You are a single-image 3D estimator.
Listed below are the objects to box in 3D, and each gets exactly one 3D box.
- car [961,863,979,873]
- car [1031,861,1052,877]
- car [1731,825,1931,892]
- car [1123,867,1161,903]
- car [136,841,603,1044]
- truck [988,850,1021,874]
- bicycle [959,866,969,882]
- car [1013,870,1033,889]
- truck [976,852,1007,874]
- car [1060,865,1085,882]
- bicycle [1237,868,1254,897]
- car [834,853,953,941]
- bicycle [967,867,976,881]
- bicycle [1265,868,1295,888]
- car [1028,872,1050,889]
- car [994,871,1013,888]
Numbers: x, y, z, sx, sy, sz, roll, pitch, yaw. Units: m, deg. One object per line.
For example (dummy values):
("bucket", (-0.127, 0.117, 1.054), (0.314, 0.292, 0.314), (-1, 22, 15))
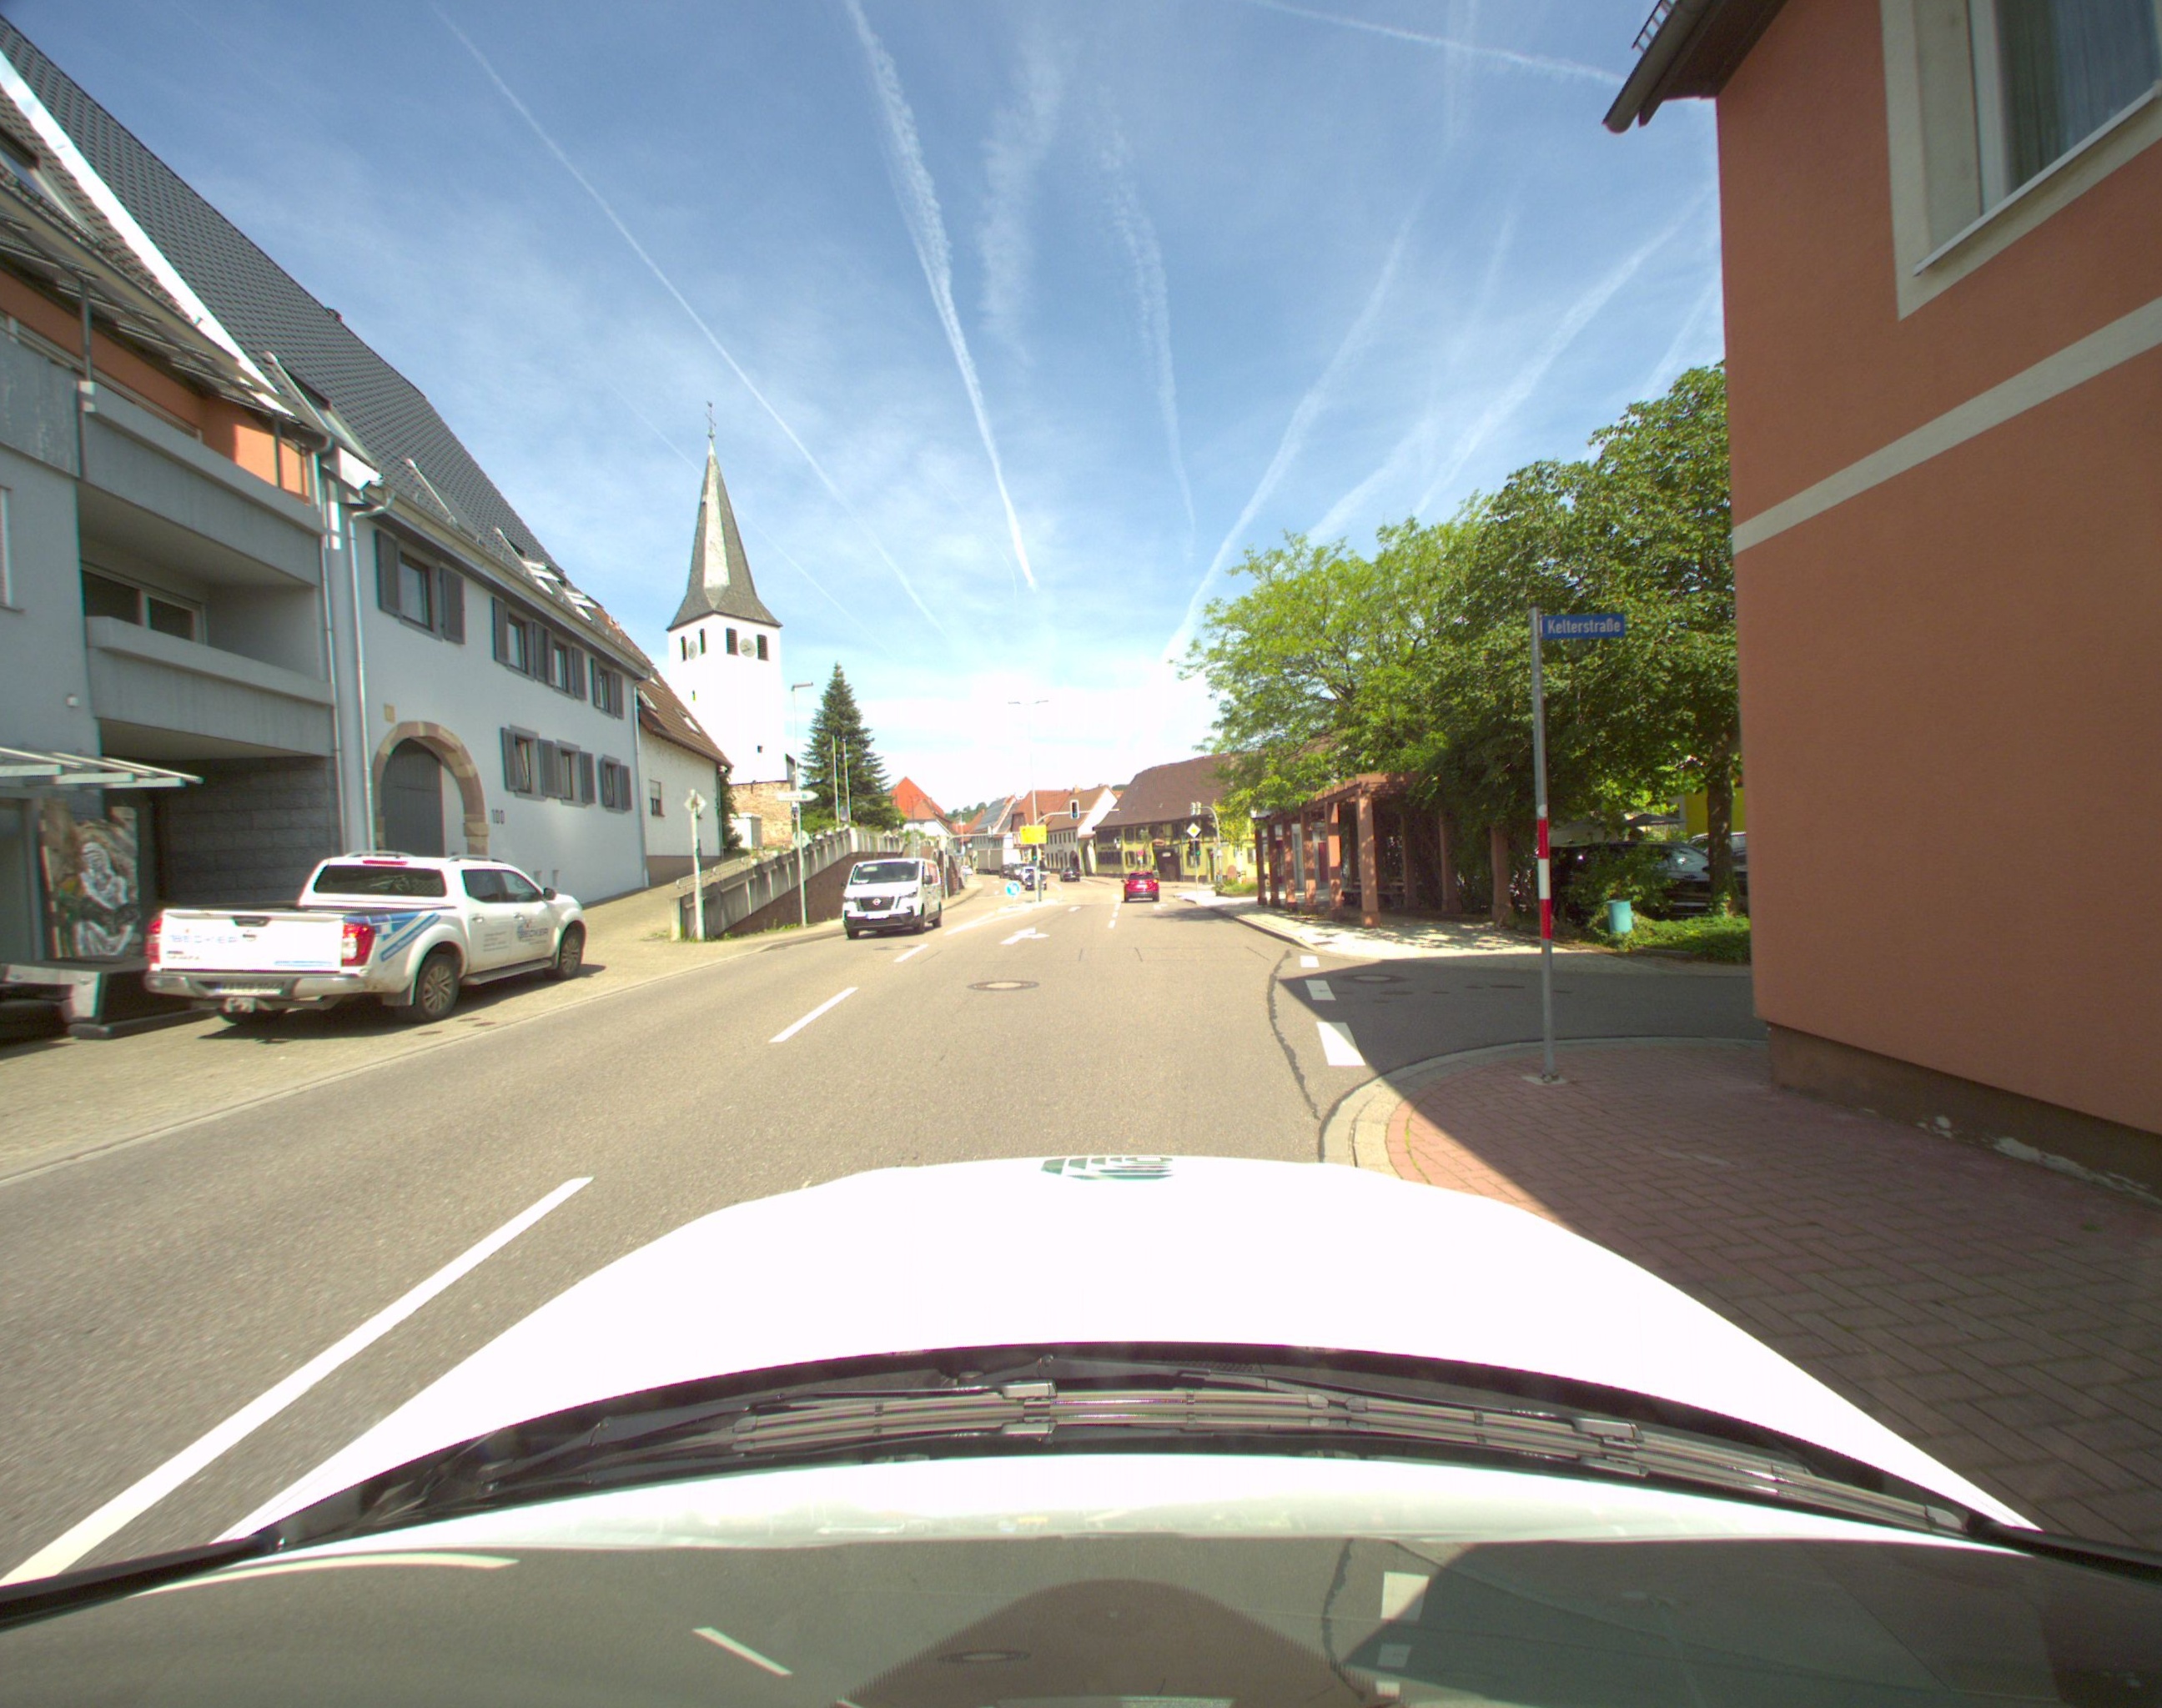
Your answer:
("car", (-18.767, 2.413, 137.438), (1.794, 1.526, 3.973), (-4, 0, -24))
("car", (-5.347, 1.993, 109.479), (1.851, 2.014, 3.976), (-1, -1, -18))
("car", (22.311, 0.150, 24.351), (4.160, 1.740, 1.884), (-3, -1, 0))
("car", (3.305, 1.619, 43.521), (1.795, 1.663, 3.819), (-4, 0, 6))
("car", (-8.018, 0.860, 10.094), (1.804, 1.798, 5.268), (-1, -1, -9))
("truck", (-11.938, 1.189, 126.336), (3.232, 3.549, 9.172), (-1, -1, -18))
("bicycle", (-13.973, 2.373, 97.545), (0.638, 1.779, 2.673), (-1, -1, 4))
("car", (-6.459, 2.783, 89.624), (1.819, 1.906, 4.950), (-3, 0, -8))
("truck", (-14.970, 1.533, 135.747), (3.168, 3.460, 10.646), (0, -1, -18))
("car", (-1.003, 2.205, 91.415), (1.824, 1.738, 3.984), (-4, 0, -15))
("bicycle", (7.857, 1.367, 39.028), (0.526, 1.279, 1.996), (-6, -1, 7))
("car", (-4.784, 1.019, 21.644), (1.963, 1.933, 5.310), (-4, 0, -2))
("bicycle", (-13.045, 2.363, 97.357), (0.555, 1.607, 2.565), (-1, -1, 4))
("bicycle", (13.230, 1.591, 54.153), (1.796, 1.234, 0.550), (-4, -1, 3))
("car", (-3.940, 2.461, 76.203), (1.815, 1.434, 4.247), (-3, 0, -1))
("car", (-10.590, 3.429, 110.908), (1.762, 2.246, 4.525), (-1, -1, -18))
